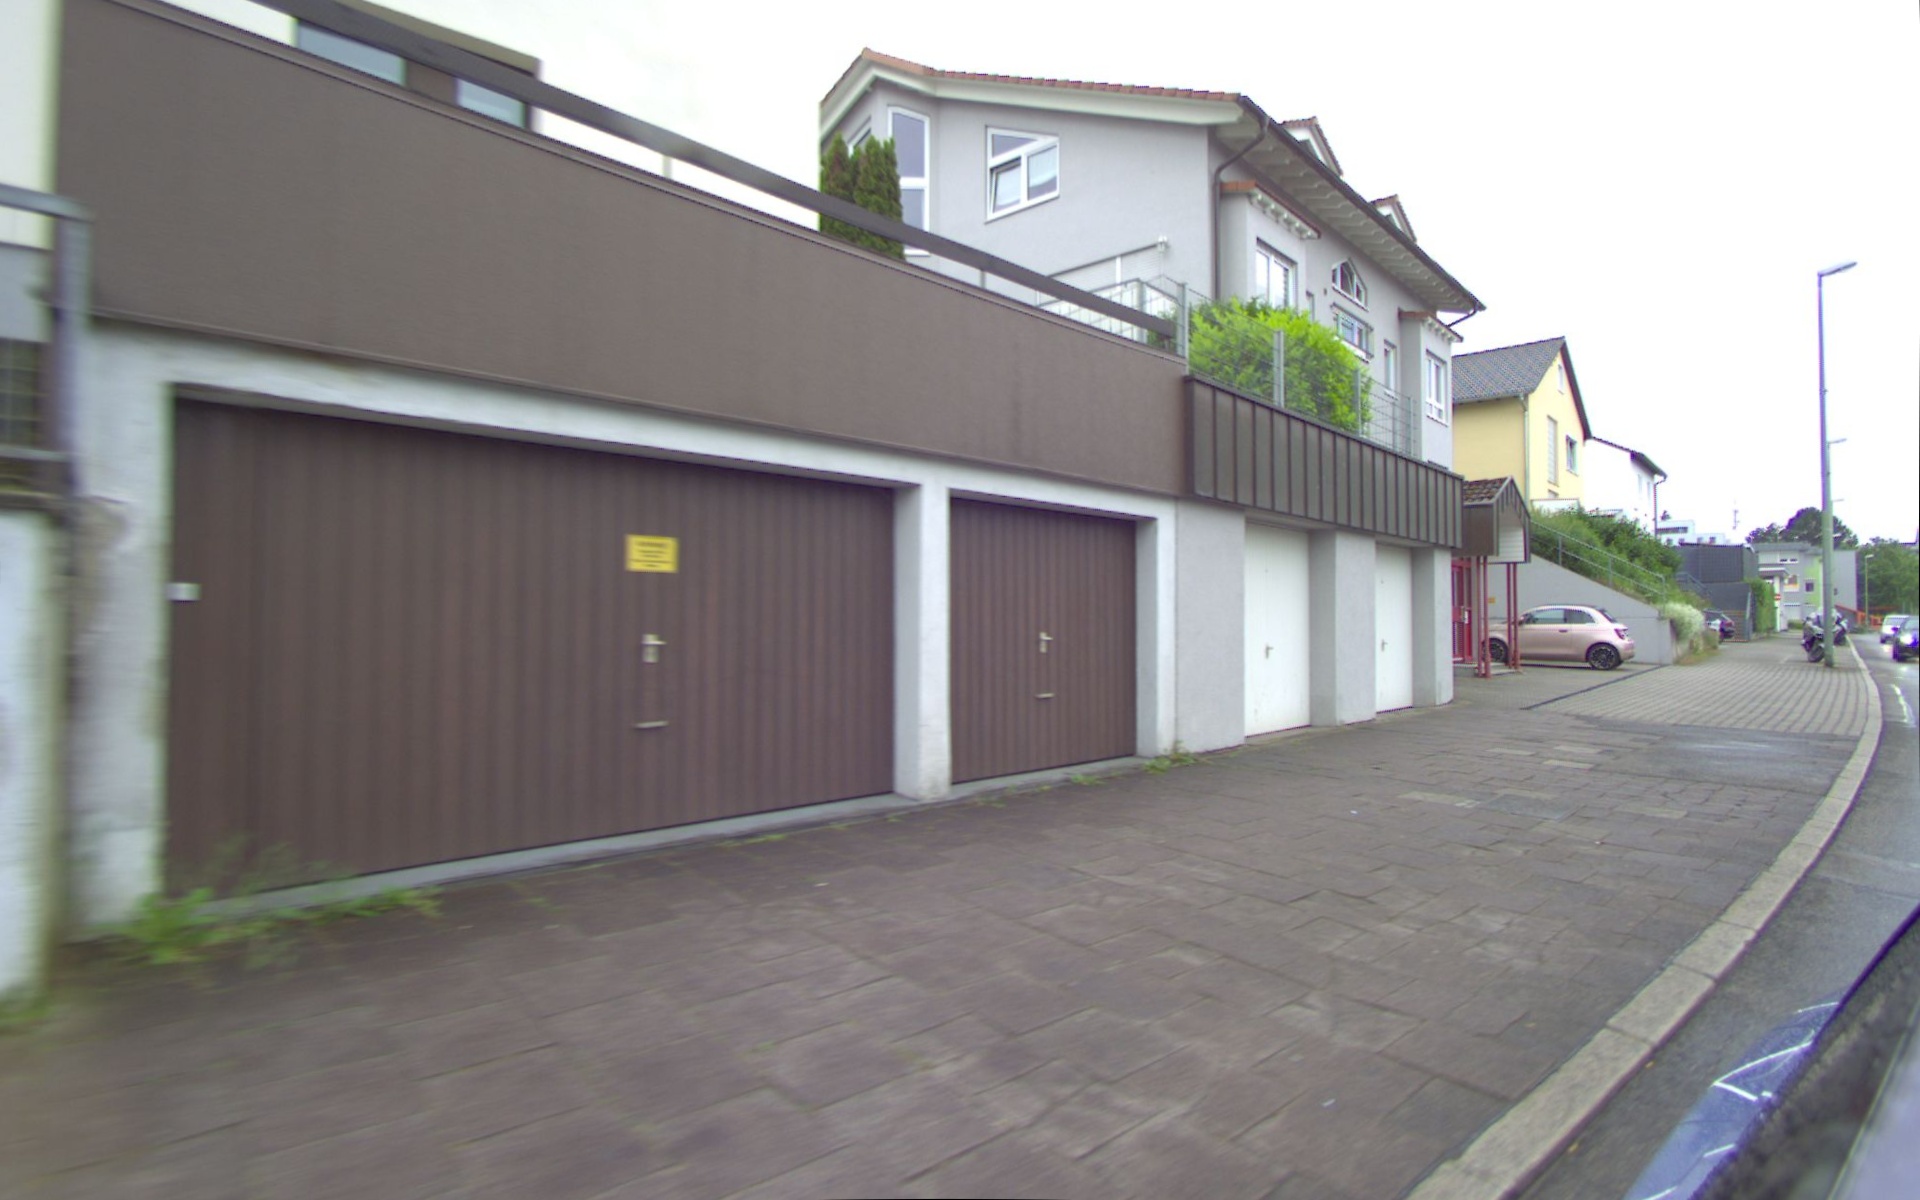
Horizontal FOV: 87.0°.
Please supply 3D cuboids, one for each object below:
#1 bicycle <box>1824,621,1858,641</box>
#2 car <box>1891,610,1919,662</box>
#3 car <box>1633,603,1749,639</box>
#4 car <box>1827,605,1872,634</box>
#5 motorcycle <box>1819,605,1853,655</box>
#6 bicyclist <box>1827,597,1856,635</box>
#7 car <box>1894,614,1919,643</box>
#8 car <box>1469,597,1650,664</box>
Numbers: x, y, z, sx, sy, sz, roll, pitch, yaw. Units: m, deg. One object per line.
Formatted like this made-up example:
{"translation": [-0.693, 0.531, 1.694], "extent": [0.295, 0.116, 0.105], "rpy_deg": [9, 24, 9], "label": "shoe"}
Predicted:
{"translation": [39.084, 1.374, 44.877], "extent": [2.193, 0.837, 0.733], "rpy_deg": [1, 0, -38], "label": "bicycle"}
{"translation": [31.578, 1.227, 32.948], "extent": [1.835, 1.476, 3.937], "rpy_deg": [1, -4, 43], "label": "car"}
{"translation": [31.482, 0.885, 43.673], "extent": [3.977, 1.420, 1.651], "rpy_deg": [1, 0, 37], "label": "car"}
{"translation": [47.984, 1.027, 54.577], "extent": [1.732, 1.508, 3.938], "rpy_deg": [1, 0, 43], "label": "car"}
{"translation": [24.889, 0.835, 28.750], "extent": [0.691, 1.341, 2.442], "rpy_deg": [1, 0, 41], "label": "motorcycle"}
{"translation": [39.071, 0.718, 44.874], "extent": [0.889, 1.663, 0.809], "rpy_deg": [1, 0, -38], "label": "bicyclist"}
{"translation": [51.767, 1.553, 54.581], "extent": [1.834, 1.500, 3.941], "rpy_deg": [1, -1, 40], "label": "car"}
{"translation": [14.627, 0.694, 24.766], "extent": [3.625, 1.504, 1.787], "rpy_deg": [0, -1, 39], "label": "car"}
